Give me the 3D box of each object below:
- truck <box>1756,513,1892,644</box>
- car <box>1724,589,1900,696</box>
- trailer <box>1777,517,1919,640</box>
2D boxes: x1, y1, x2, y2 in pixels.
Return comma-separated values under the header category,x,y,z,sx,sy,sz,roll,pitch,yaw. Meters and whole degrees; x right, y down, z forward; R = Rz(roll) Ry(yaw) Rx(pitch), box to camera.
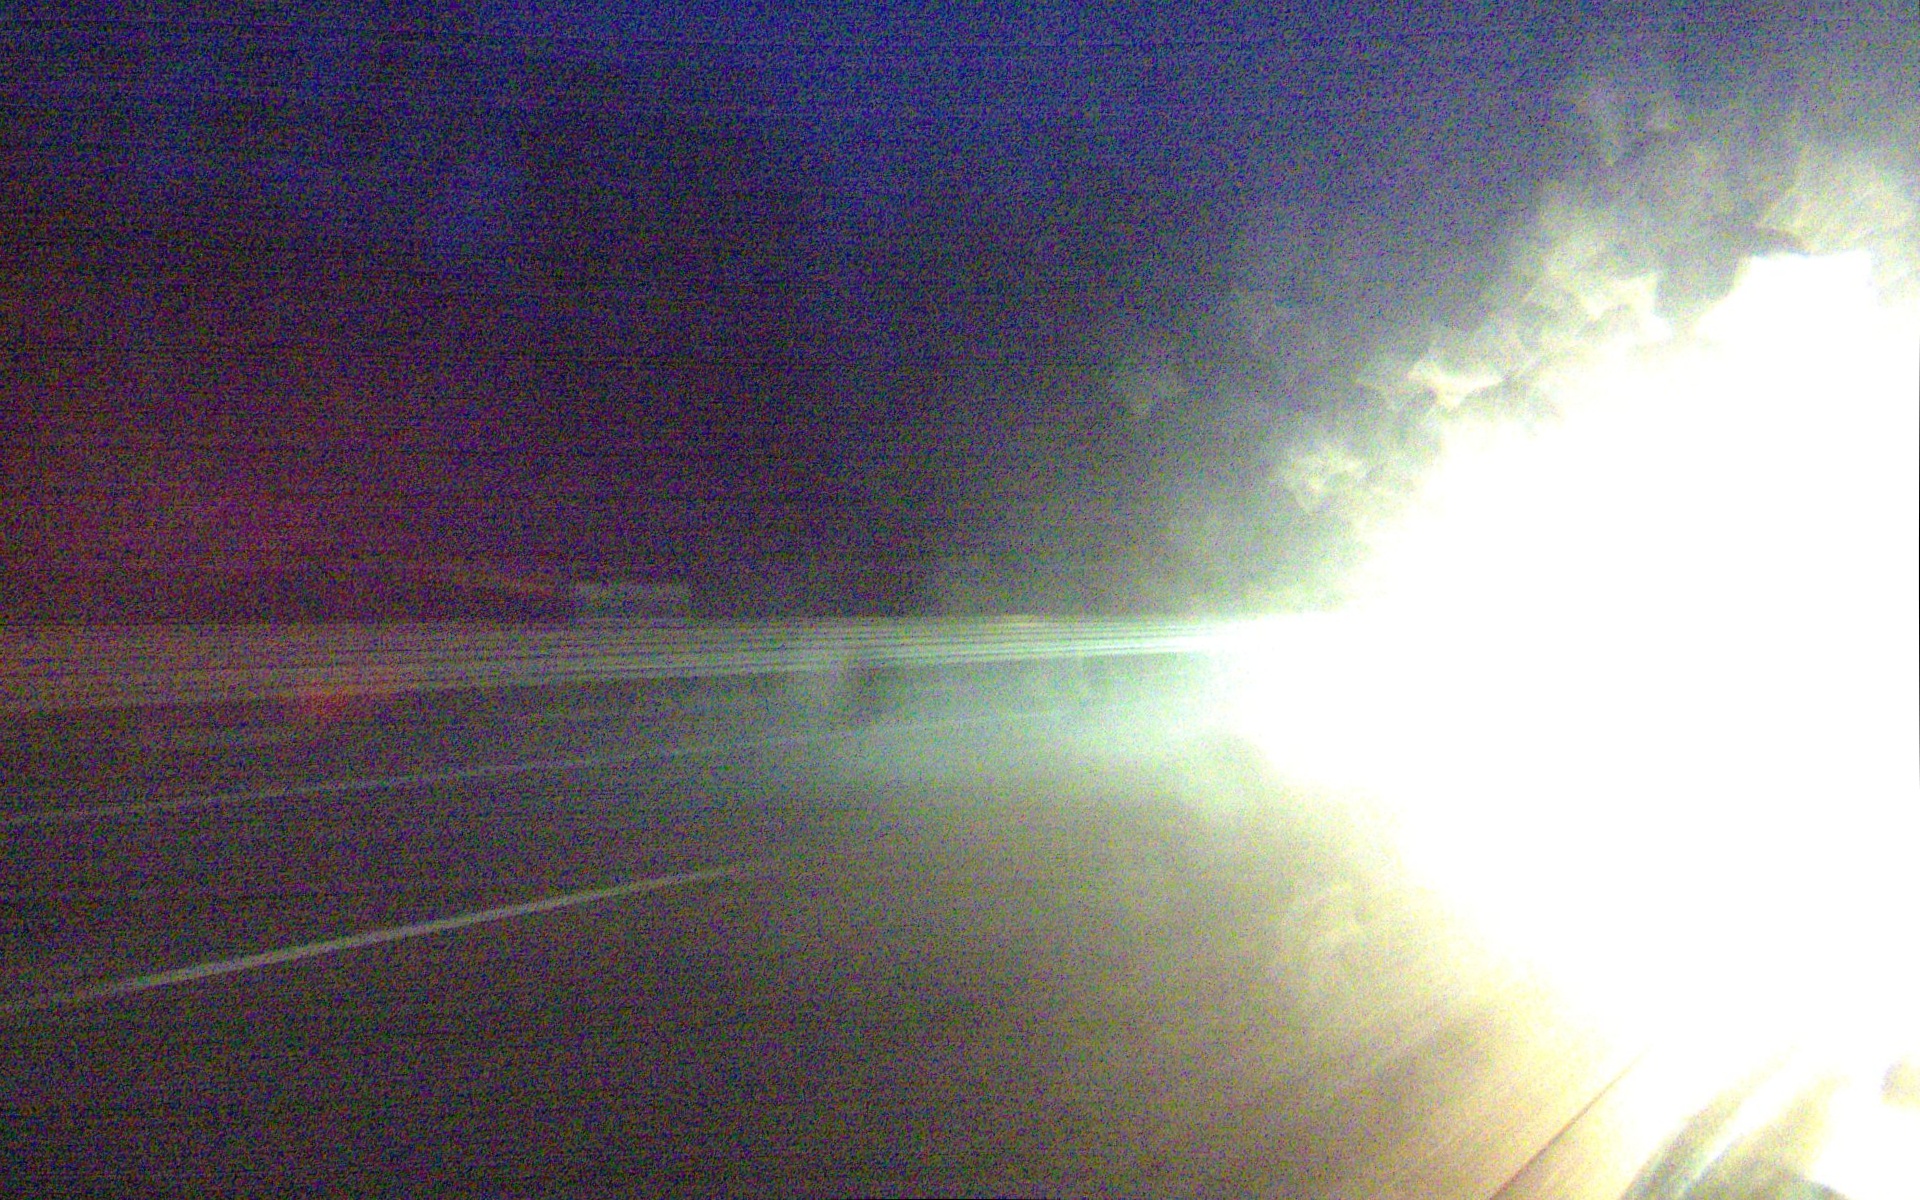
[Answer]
category,x,y,z,sx,sy,sz,roll,pitch,yaw
truck,30.634,-0.721,35.816,5.911,4.246,2.776,0,0,-41
car,13.828,0.596,16.365,3.702,1.522,1.618,-1,0,-41
trailer,34.908,-0.773,39.552,10.984,4.246,2.751,0,0,-41
